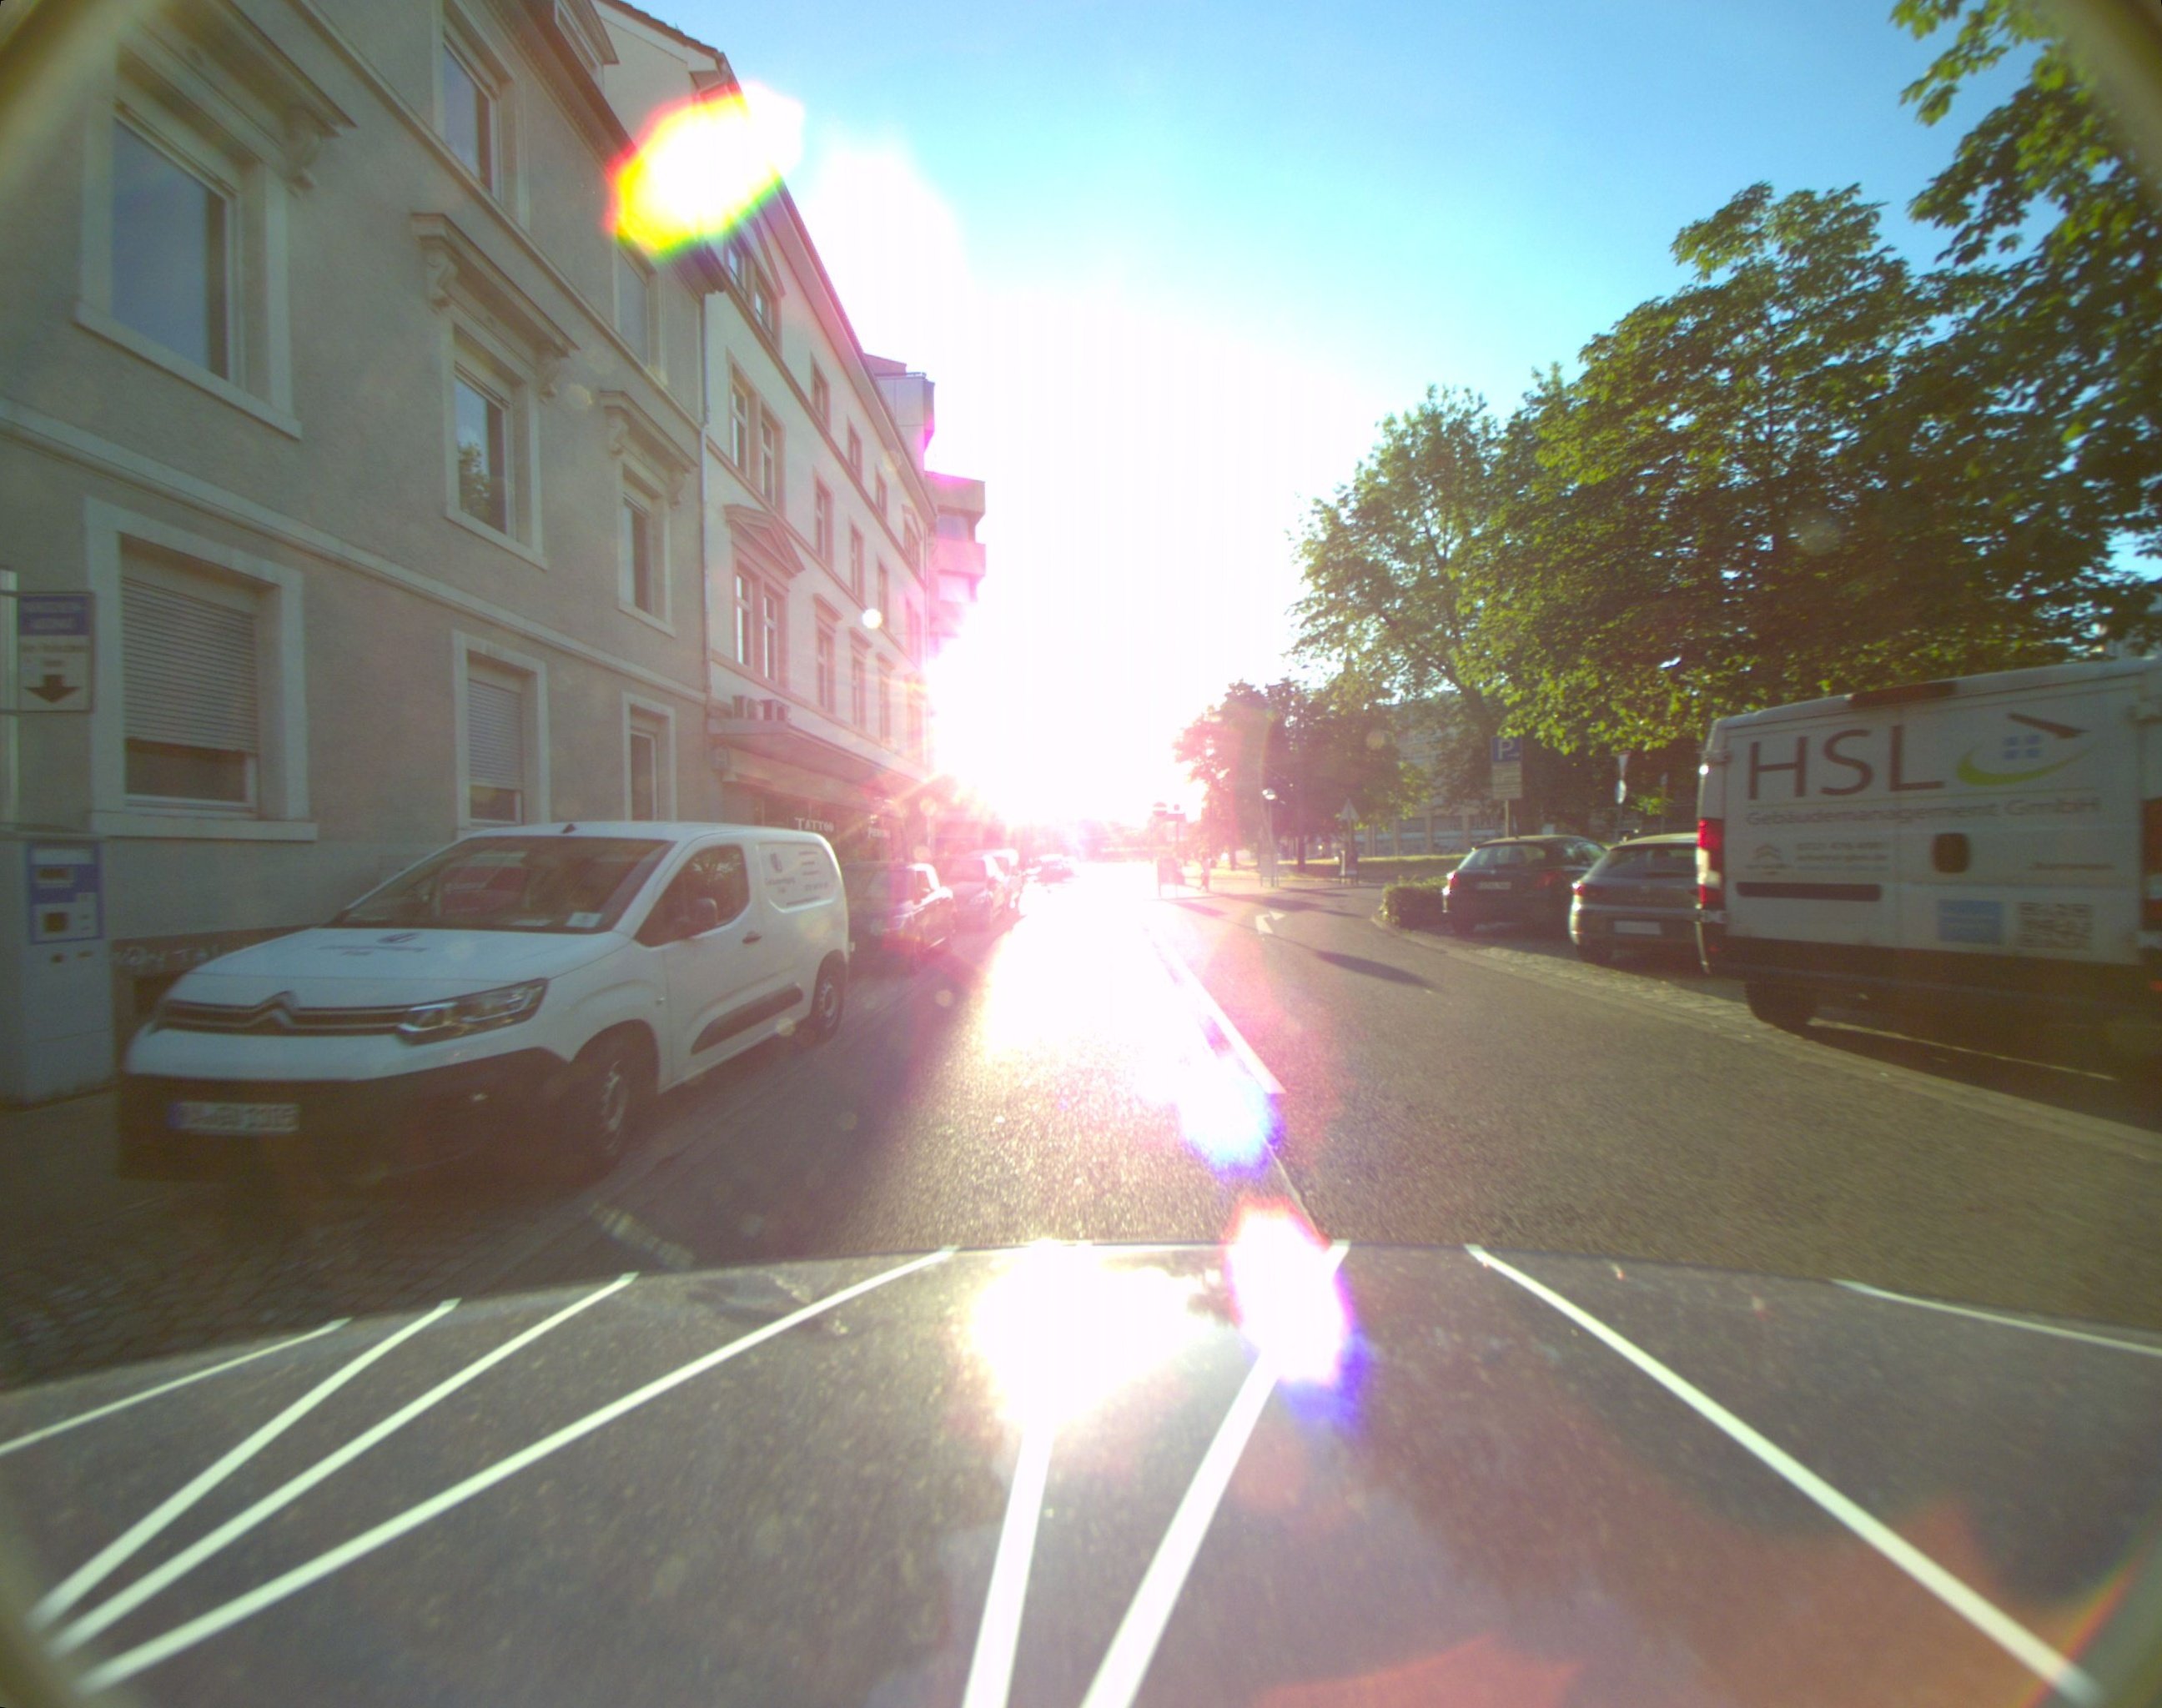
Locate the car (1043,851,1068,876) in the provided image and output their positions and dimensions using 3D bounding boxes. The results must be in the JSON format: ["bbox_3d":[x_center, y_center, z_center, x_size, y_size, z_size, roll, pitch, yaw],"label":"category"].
[{"bbox_3d":[-1.955,0.716,59.596,1.788,1.794,4.401,-2,0,0],"label":"car"}]

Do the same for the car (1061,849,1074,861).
[{"bbox_3d":[-1.758,0.116,101.408,1.654,1.525,4.066,-2,0,0],"label":"car"}]

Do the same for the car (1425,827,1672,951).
[{"bbox_3d":[7.402,0.449,11.945,3.890,1.573,1.798,-3,0,-33],"label":"car"}]

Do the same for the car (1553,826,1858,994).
[{"bbox_3d":[7.241,0.476,8.681,4.007,1.478,1.828,-2,0,-38],"label":"car"}]

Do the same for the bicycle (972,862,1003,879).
[{"bbox_3d":[-5.745,1.009,46.869,1.895,0.999,0.457,1,0,-37],"label":"bicycle"}]

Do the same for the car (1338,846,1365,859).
[{"bbox_3d":[44.765,-0.247,125.893,1.858,2.002,3.903,-2,0,-29],"label":"car"}]

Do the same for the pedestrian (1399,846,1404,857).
[{"bbox_3d":[50.795,-0.443,120.399,0.532,1.682,0.617,-2,0,-16],"label":"pedestrian"}]

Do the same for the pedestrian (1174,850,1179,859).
[{"bbox_3d":[16.328,0.098,130.294,0.672,1.450,0.699,-2,0,-3],"label":"pedestrian"}]

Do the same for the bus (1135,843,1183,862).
[{"bbox_3d":[16.206,-0.256,159.061,3.765,3.342,13.689,-2,0,-23],"label":"bus"}]

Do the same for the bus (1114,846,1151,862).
[{"bbox_3d":[11.449,0.024,170.217,3.765,3.311,10.718,-2,0,-23],"label":"bus"}]

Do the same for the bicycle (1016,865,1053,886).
[{"bbox_3d":[-2.386,1.085,38.735,1.789,0.984,0.543,1,-1,18],"label":"bicycle"}]

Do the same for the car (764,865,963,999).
[{"bbox_3d":[-2.923,0.969,11.103,1.671,1.535,3.883,-2,0,1],"label":"car"}]

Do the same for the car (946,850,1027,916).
[{"bbox_3d":[-2.759,0.804,23.020,1.797,1.781,4.092,-1,0,1],"label":"car"}]

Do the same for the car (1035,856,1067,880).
[{"bbox_3d":[-1.958,0.910,51.137,1.794,1.498,3.921,-2,0,2],"label":"car"}]

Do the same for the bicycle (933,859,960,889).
[{"bbox_3d":[-6.020,0.880,33.974,0.416,1.269,1.659,-2,3,-41],"label":"bicycle"}]

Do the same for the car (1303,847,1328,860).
[{"bbox_3d":[41.098,-0.077,133.386,1.914,2.002,3.992,-2,0,-29],"label":"car"}]

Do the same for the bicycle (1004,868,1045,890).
[{"bbox_3d":[-2.564,1.132,34.568,1.789,0.984,0.543,1,-1,24],"label":"bicycle"}]

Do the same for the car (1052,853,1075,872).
[{"bbox_3d":[-1.448,0.682,64.921,1.645,1.519,4.001,-2,0,2],"label":"car"}]

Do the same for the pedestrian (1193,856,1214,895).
[{"bbox_3d":[4.385,0.747,27.087,0.613,1.356,0.565,-2,0,17],"label":"pedestrian"}]

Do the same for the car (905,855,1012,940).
[{"bbox_3d":[-2.662,0.884,17.404,1.661,1.655,4.108,-2,0,1],"label":"car"}]

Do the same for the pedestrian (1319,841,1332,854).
[{"bbox_3d":[41.131,-1.156,127.879,1.061,2.082,1.630,-2,0,-27],"label":"pedestrian"}]

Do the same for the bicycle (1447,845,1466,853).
[{"bbox_3d":[52.180,-0.720,105.607,0.473,1.006,2.193,-2,7,-45],"label":"bicycle"}]

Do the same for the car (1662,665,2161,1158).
[{"bbox_3d":[6.597,0.192,5.243,4.619,2.238,2.199,-3,1,-25],"label":"car"}]

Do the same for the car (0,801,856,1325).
[{"bbox_3d":[-3.053,0.772,4.868,1.714,1.824,4.307,-2,0,2],"label":"car"}]

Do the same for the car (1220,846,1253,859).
[{"bbox_3d":[35.782,-0.411,174.821,7.209,2.860,2.305,-1,0,-21],"label":"car"}]

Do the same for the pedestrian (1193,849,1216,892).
[{"bbox_3d":[4.566,0.590,28.023,0.693,1.550,0.700,-2,0,18],"label":"pedestrian"}]
